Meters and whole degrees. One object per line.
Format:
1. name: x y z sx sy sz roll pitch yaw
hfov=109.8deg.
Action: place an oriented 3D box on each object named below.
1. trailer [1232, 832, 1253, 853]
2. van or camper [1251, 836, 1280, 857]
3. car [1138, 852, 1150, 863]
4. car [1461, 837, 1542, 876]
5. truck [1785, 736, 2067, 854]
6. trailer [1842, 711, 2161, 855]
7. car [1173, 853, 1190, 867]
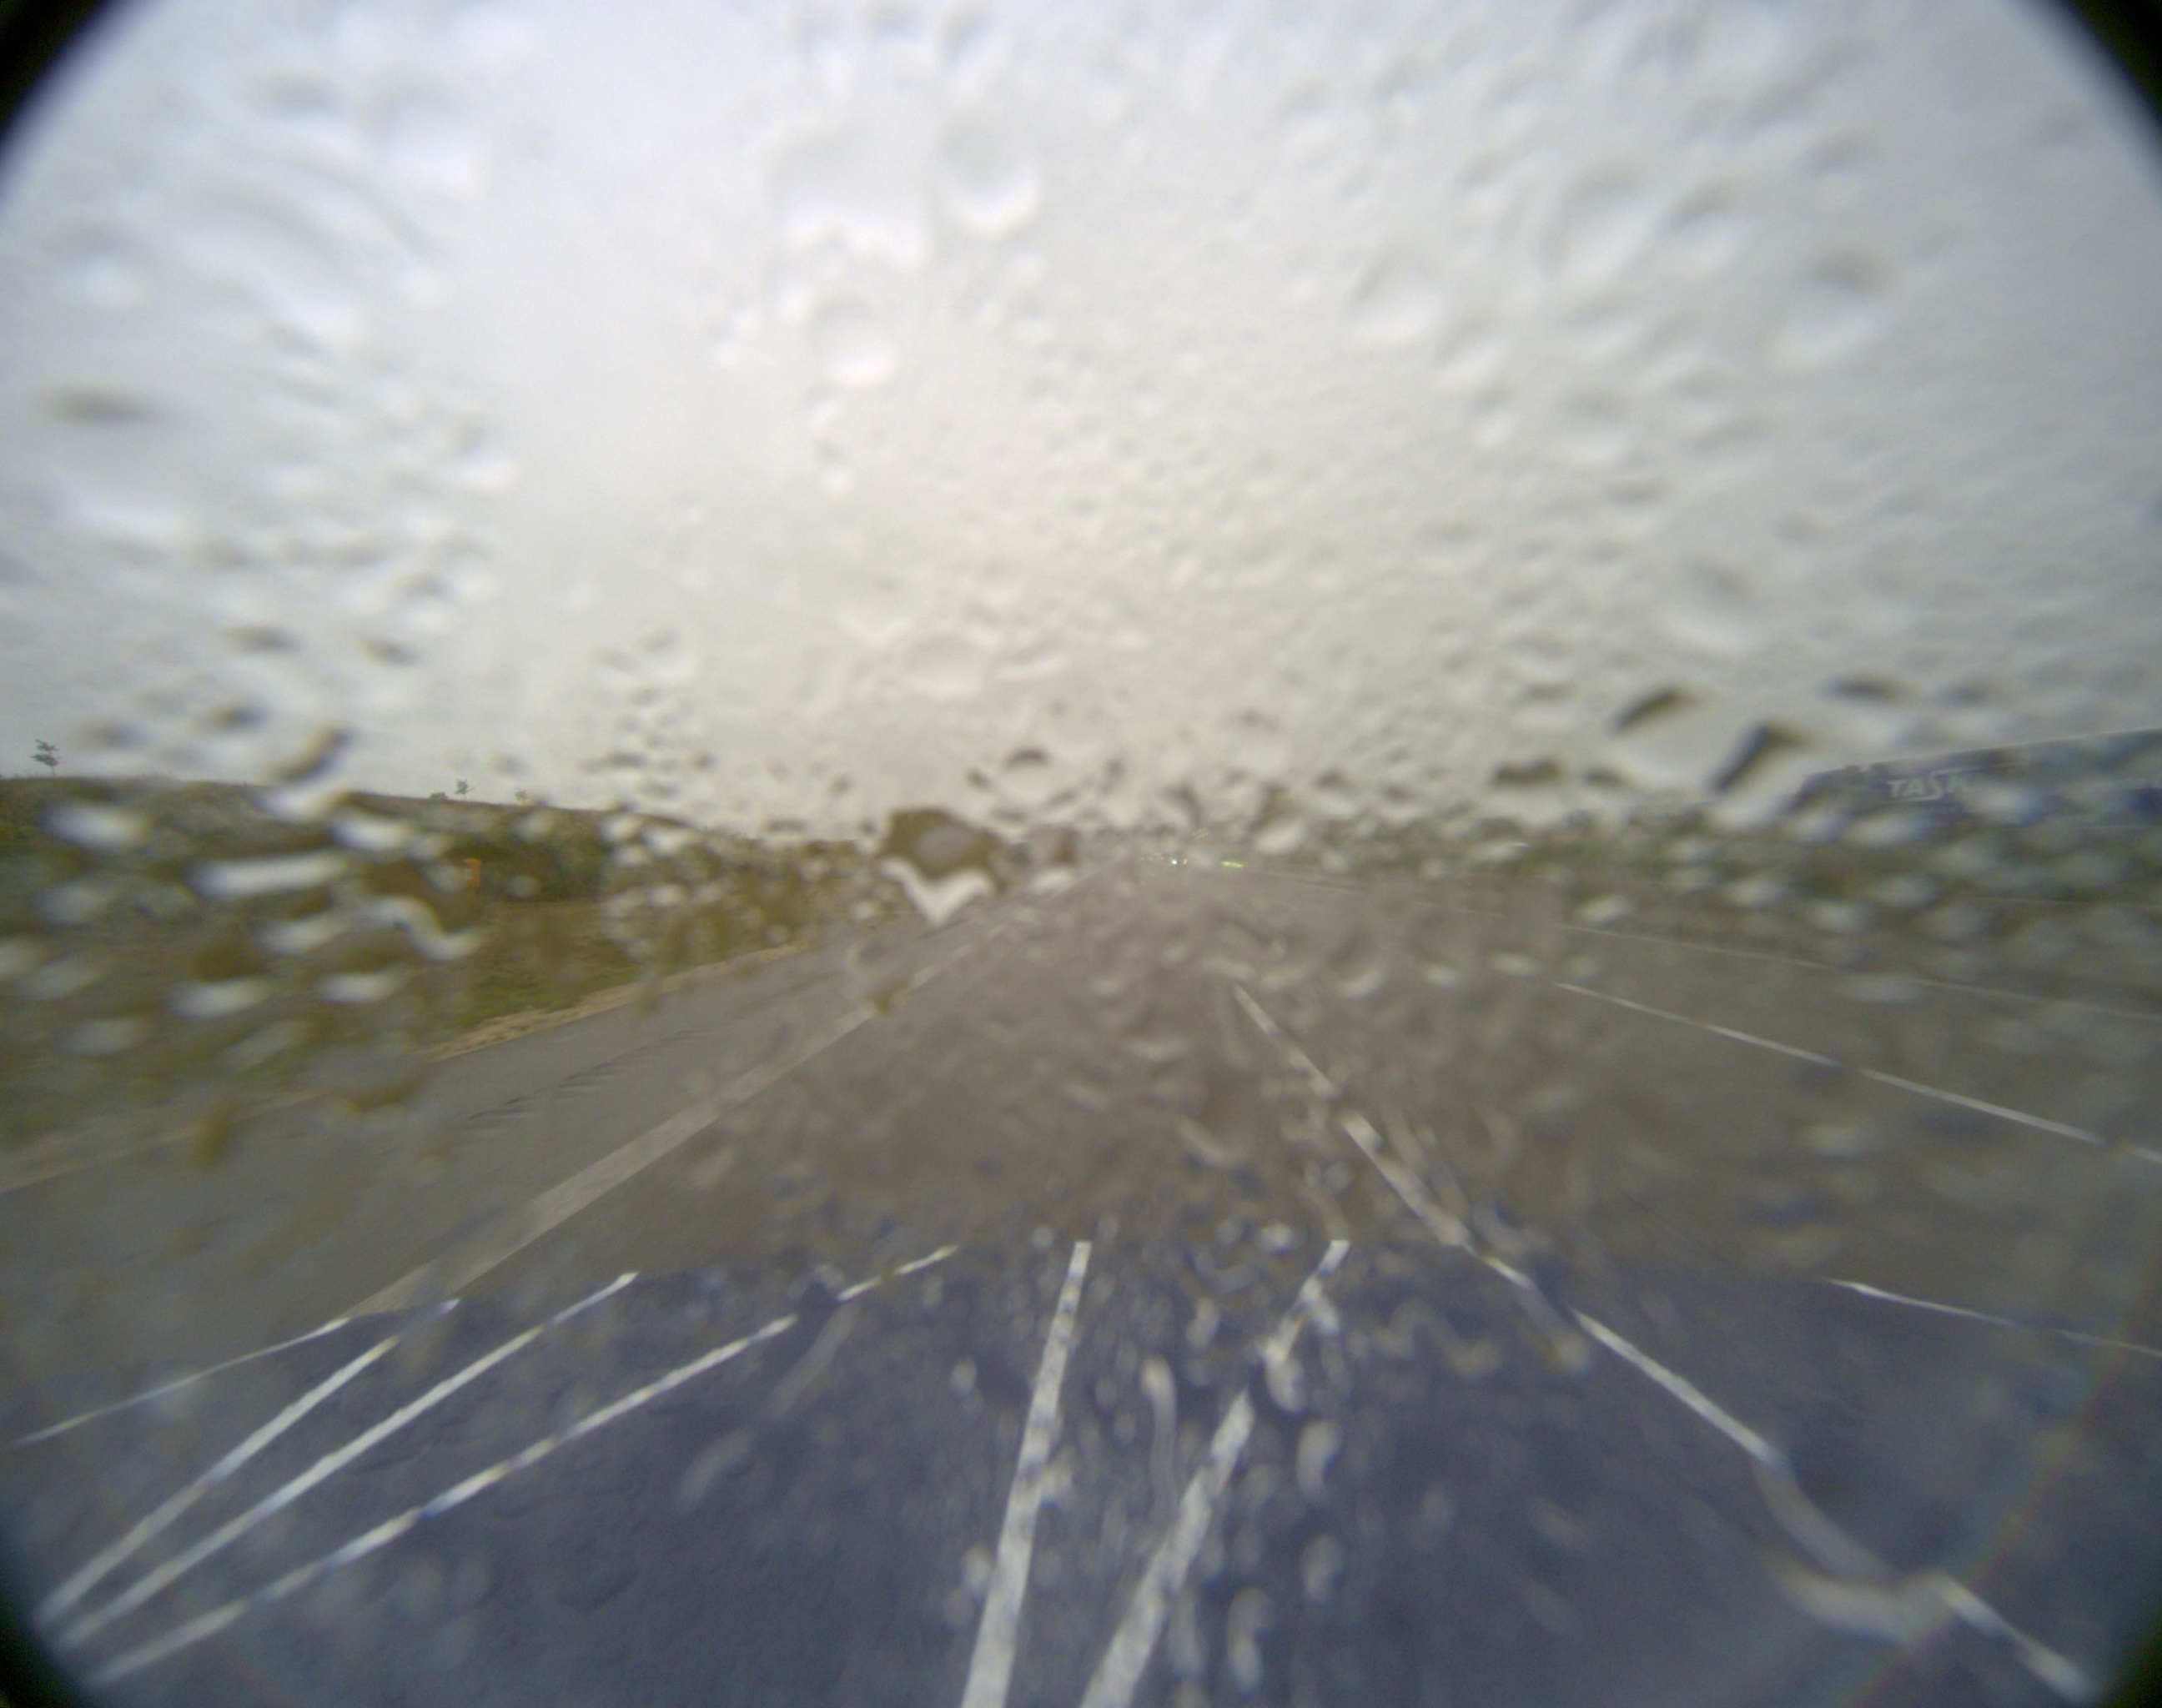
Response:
1. trailer: 32.331 -2.178 152.770 2.229 3.974 14.210 -1 0 4
2. van or camper: 24.196 -0.957 99.849 2.379 2.493 6.757 -2 0 2
3. car: 9.684 0.546 117.000 1.700 1.543 3.733 -2 1 3
4. car: 15.936 0.074 28.941 1.399 1.343 3.089 -2 1 1
5. truck: 27.388 -1.739 25.105 3.106 3.402 5.686 -1 0 2
6. trailer: 27.124 -1.700 18.640 3.122 3.398 14.236 -1 0 2
7. car: 11.979 0.715 91.014 1.700 1.543 3.733 -2 1 3
